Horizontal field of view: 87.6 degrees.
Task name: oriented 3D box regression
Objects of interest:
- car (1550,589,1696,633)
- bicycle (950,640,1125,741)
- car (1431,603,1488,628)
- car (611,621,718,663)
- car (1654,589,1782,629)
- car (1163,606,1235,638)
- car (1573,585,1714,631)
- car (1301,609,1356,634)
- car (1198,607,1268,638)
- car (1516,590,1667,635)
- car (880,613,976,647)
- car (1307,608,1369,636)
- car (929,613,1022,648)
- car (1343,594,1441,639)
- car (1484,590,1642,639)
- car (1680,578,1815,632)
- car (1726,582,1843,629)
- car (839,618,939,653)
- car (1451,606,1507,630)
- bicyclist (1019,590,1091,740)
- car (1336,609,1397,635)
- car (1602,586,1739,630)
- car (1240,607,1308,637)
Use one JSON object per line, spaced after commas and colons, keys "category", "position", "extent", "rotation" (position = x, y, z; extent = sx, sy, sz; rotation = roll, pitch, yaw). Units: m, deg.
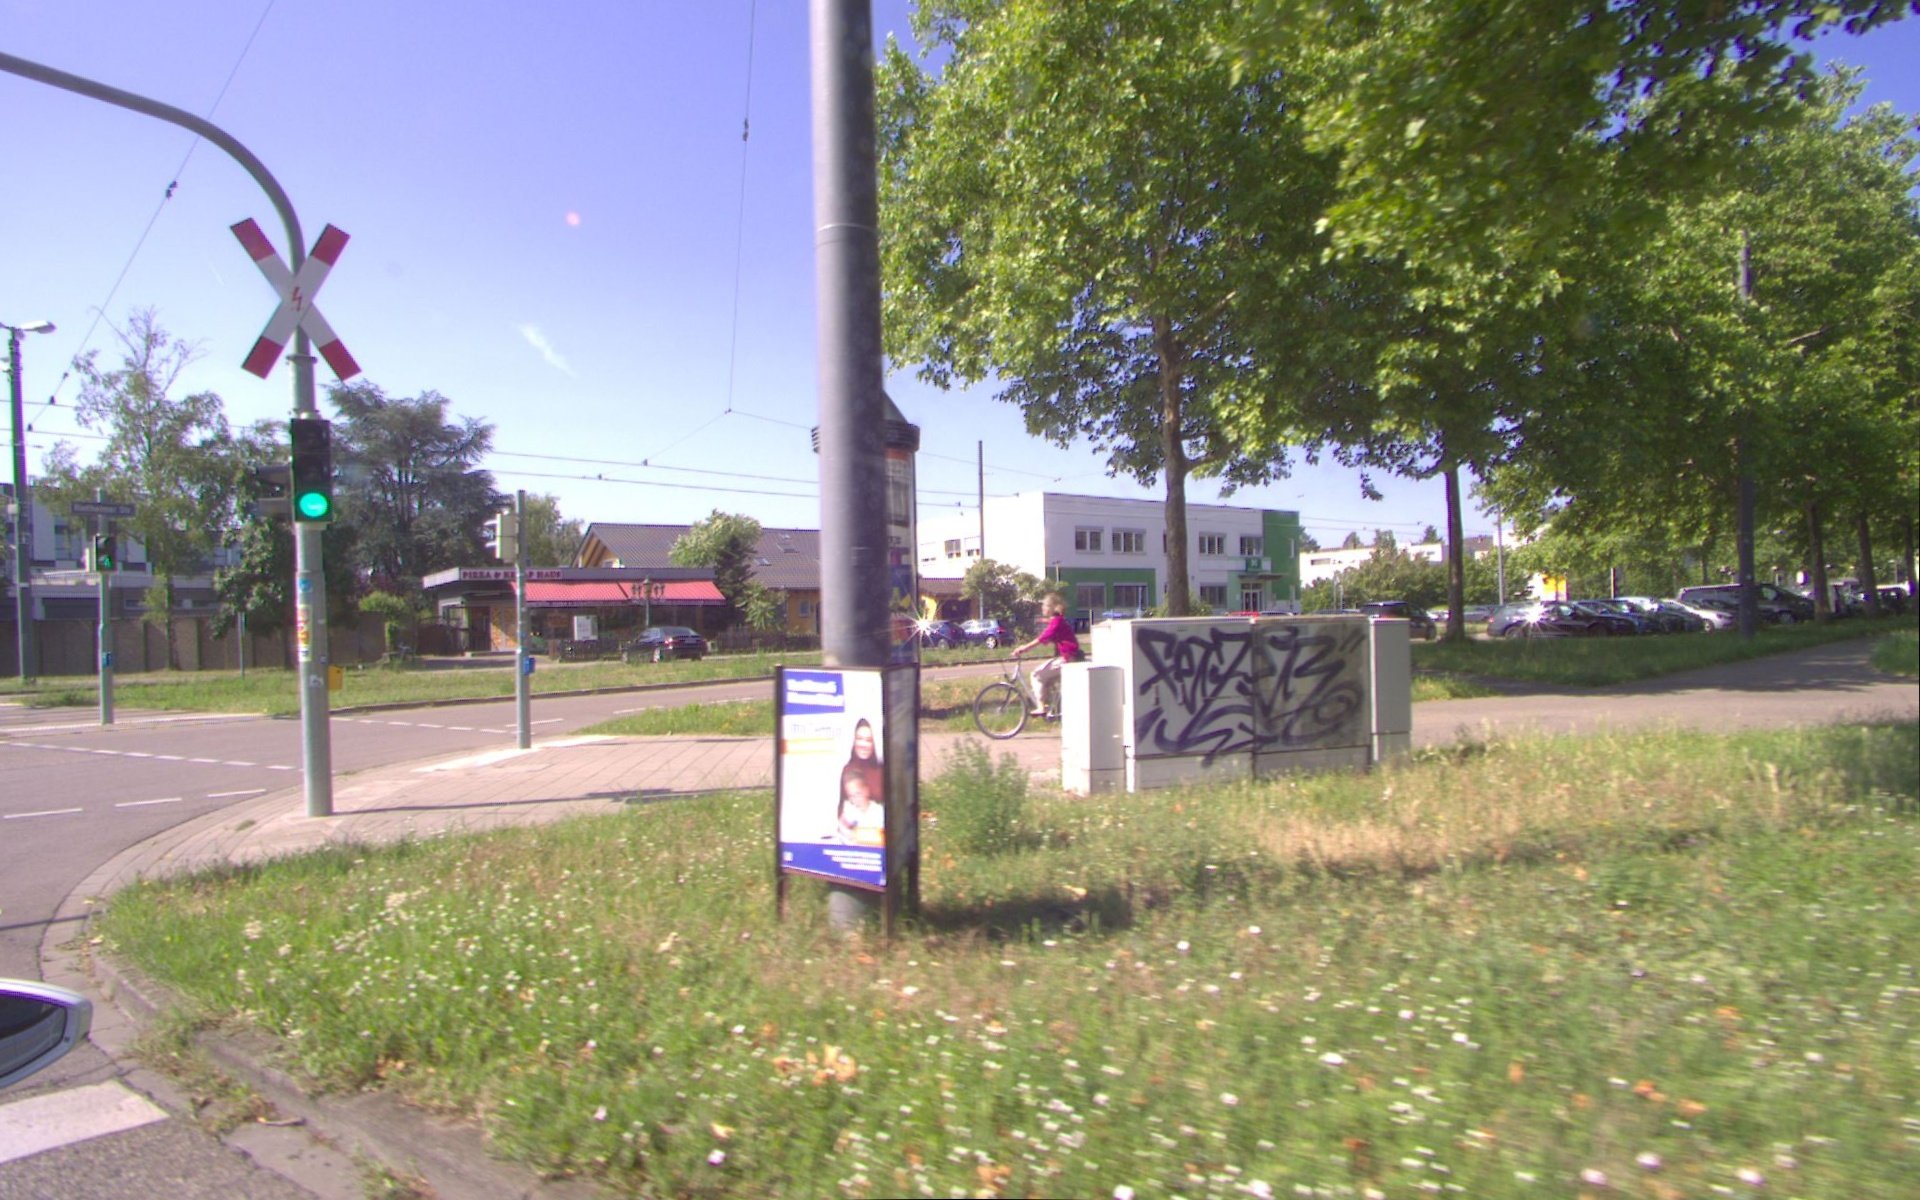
{"category": "car", "position": [24.914, 0.435, 37.731], "extent": [4.310, 1.510, 1.982], "rotation": [-2, -1, 44]}
{"category": "bicycle", "position": [0.983, 1.127, 12.547], "extent": [2.085, 1.201, 0.693], "rotation": [-2, 0, 11]}
{"category": "car", "position": [39.924, 1.259, 80.184], "extent": [3.934, 1.816, 1.995], "rotation": [-2, -2, 24]}
{"category": "car", "position": [-11.995, 1.717, 40.385], "extent": [2.120, 1.517, 5.075], "rotation": [-1, -2, -42]}
{"category": "car", "position": [33.435, 0.424, 44.257], "extent": [4.310, 1.654, 1.982], "rotation": [-2, -1, 44]}
{"category": "car", "position": [14.519, 1.355, 60.720], "extent": [3.934, 1.816, 1.995], "rotation": [-2, -2, 24]}
{"category": "car", "position": [26.876, 0.367, 39.459], "extent": [4.310, 1.654, 1.982], "rotation": [-2, -2, 44]}
{"category": "car", "position": [24.743, 1.459, 67.400], "extent": [3.384, 1.556, 1.565], "rotation": [-2, 0, 18]}
{"category": "car", "position": [17.070, 1.420, 62.638], "extent": [3.934, 1.816, 1.995], "rotation": [-2, -2, 24]}
{"category": "car", "position": [22.681, 0.480, 36.067], "extent": [4.310, 1.510, 1.982], "rotation": [-2, -1, 44]}
{"category": "car", "position": [-1.537, 1.454, 48.342], "extent": [4.139, 1.518, 2.136], "rotation": [-2, -2, 26]}
{"category": "car", "position": [26.463, 1.564, 70.145], "extent": [3.934, 1.816, 1.995], "rotation": [-2, -2, 24]}
{"category": "car", "position": [0.775, 1.542, 50.144], "extent": [4.139, 1.640, 2.136], "rotation": [-2, -1, 26]}
{"category": "car", "position": [16.762, 0.660, 38.803], "extent": [3.953, 1.676, 1.780], "rotation": [1, -2, -38]}
{"category": "car", "position": [20.675, 0.513, 34.419], "extent": [4.311, 1.510, 1.982], "rotation": [-3, -1, 44]}
{"category": "car", "position": [35.940, 0.277, 45.786], "extent": [1.978, 2.319, 4.551], "rotation": [-1, -1, -40]}
{"category": "car", "position": [42.453, 0.313, 51.624], "extent": [4.543, 2.238, 1.982], "rotation": [-2, -1, 44]}
{"category": "car", "position": [-3.289, 1.661, 46.502], "extent": [4.139, 1.518, 2.136], "rotation": [-2, -2, 26]}
{"category": "car", "position": [42.542, 1.502, 82.136], "extent": [3.934, 1.816, 1.995], "rotation": [-2, -2, 24]}
{"category": "bicyclist", "position": [1.196, 0.800, 12.526], "extent": [0.795, 1.810, 0.702], "rotation": [-1, 0, 10]}
{"category": "car", "position": [29.052, 1.590, 71.560], "extent": [3.934, 1.816, 1.995], "rotation": [-2, -2, 24]}
{"category": "car", "position": [28.854, 0.337, 40.734], "extent": [4.310, 1.654, 1.982], "rotation": [-2, -1, 44]}
{"category": "car", "position": [20.040, 1.420, 63.979], "extent": [3.934, 1.816, 1.995], "rotation": [-2, -2, 24]}
